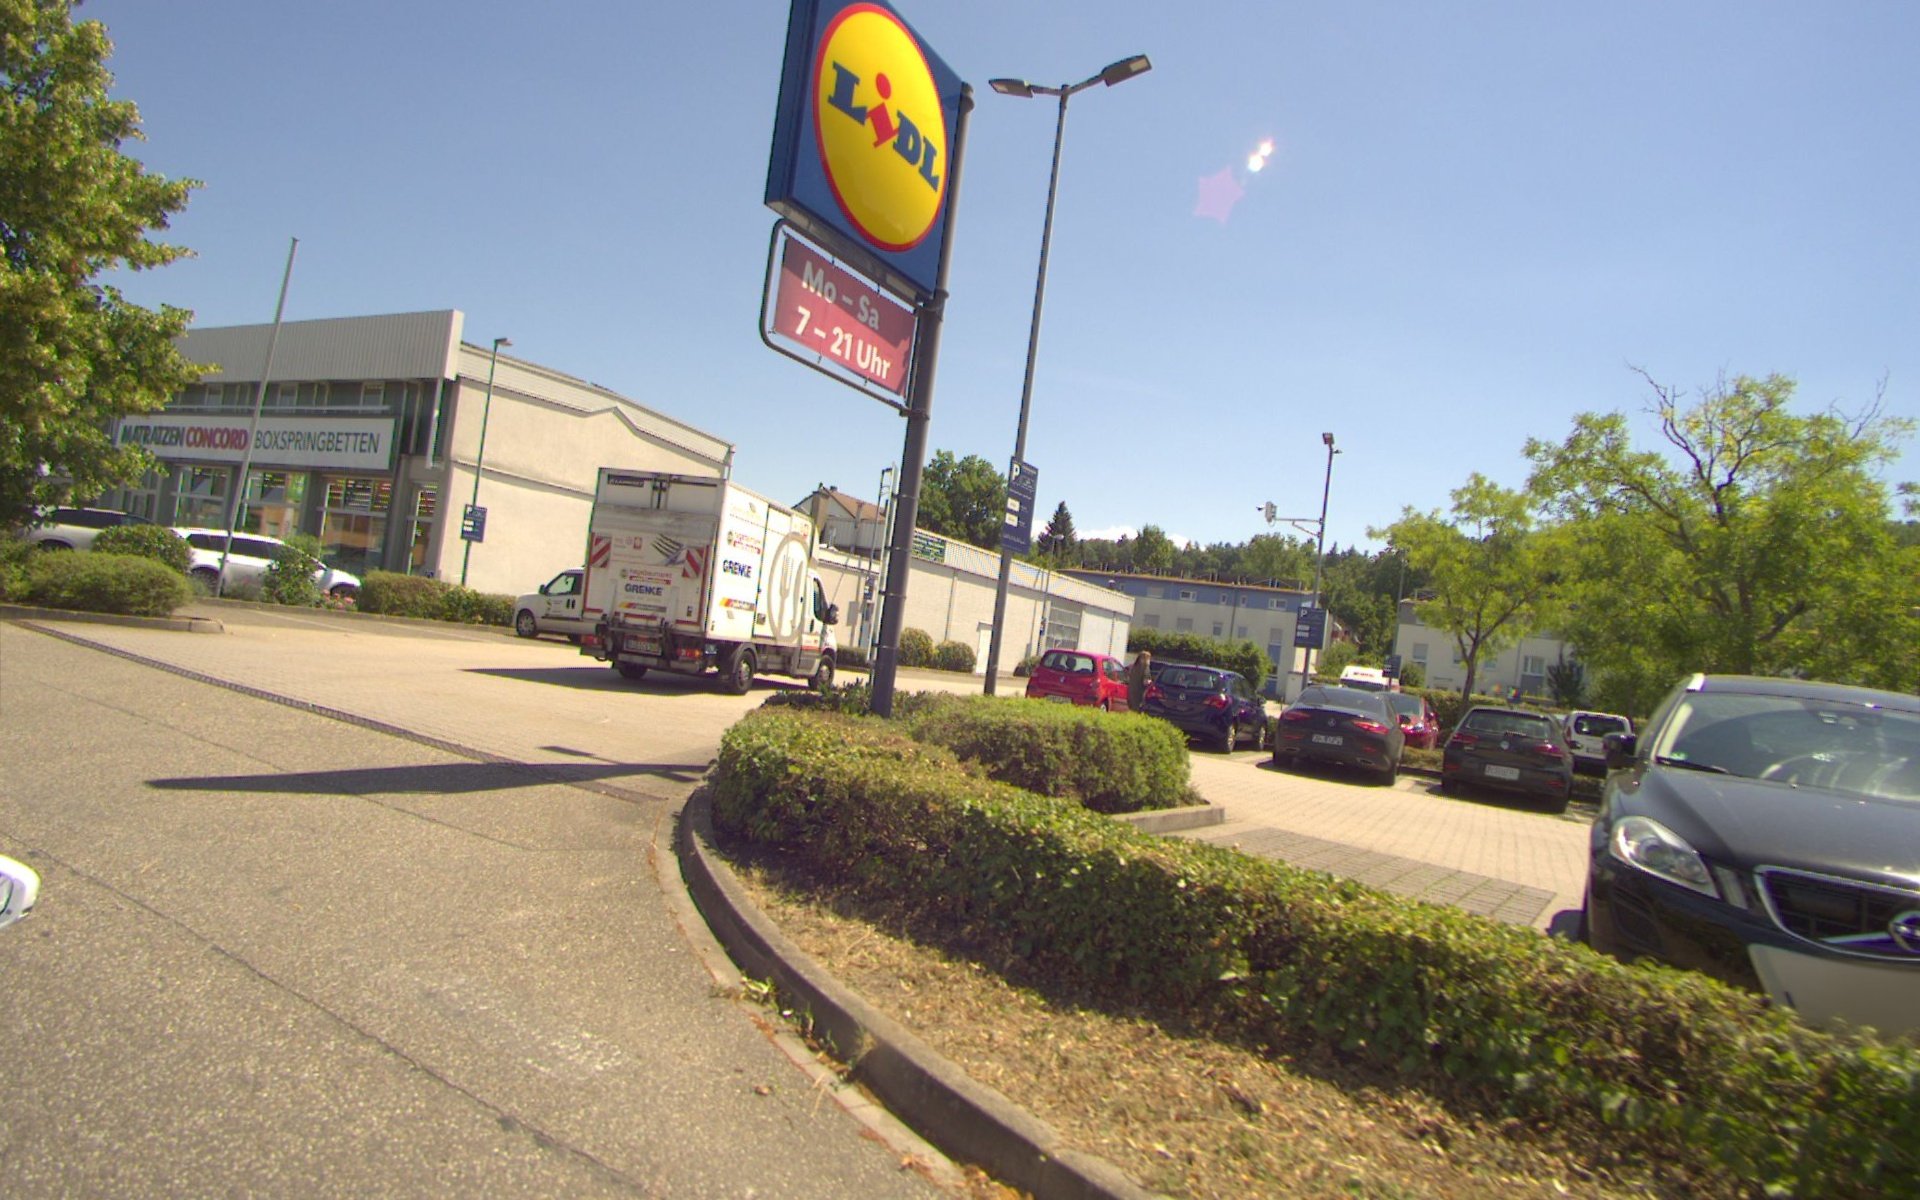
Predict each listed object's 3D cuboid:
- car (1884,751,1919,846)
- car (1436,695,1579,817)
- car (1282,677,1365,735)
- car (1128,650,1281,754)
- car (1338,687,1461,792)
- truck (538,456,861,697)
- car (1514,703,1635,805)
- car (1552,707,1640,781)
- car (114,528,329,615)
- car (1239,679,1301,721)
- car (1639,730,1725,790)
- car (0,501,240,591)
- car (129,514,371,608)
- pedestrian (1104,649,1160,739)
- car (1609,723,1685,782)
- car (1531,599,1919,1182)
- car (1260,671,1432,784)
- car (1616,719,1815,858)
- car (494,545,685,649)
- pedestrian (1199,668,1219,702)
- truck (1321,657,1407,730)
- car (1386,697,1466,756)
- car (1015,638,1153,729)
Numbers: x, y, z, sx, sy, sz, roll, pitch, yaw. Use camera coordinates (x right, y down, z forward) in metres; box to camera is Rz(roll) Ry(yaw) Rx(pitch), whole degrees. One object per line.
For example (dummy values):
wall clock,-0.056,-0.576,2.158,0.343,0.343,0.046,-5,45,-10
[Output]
car,17.165,3.509,16.746,1.716,1.522,3.603,7,-1,30
car,9.004,2.475,16.474,1.699,1.494,4.027,7,-3,31
car,12.434,3.606,34.294,1.625,1.668,3.866,6,-2,34
car,4.808,1.971,19.327,1.777,1.580,4.033,6,-3,28
car,9.522,2.837,21.583,1.965,1.661,5.528,7,-1,26
truck,-3.848,-0.146,16.533,2.376,2.982,5.962,8,-2,12
car,11.906,2.929,19.661,1.716,1.521,3.605,7,-2,30
car,19.311,4.320,30.695,1.745,1.811,3.998,7,-2,27
car,-17.611,-0.650,24.104,1.656,1.551,3.847,6,-1,44
car,13.567,4.382,43.923,1.716,1.521,3.605,7,-2,30
car,21.103,4.626,29.507,1.404,1.337,3.425,7,-2,27
car,-21.930,-1.380,26.403,1.974,1.661,4.572,6,-2,44
car,-15.590,-0.818,22.251,1.780,1.478,3.983,6,-2,41
pedestrian,3.286,1.783,19.189,0.695,1.610,0.679,7,-1,31
car,22.807,5.017,33.488,1.717,1.522,3.602,7,-1,31
car,4.184,1.150,4.994,1.864,1.687,4.520,7,-2,34
car,6.630,2.084,16.971,1.870,1.407,4.250,6,-2,31
car,11.227,2.714,15.228,1.788,1.521,3.731,7,-2,30
car,-8.822,-0.075,23.905,4.182,1.913,1.710,6,-1,27
pedestrian,13.178,4.504,53.191,0.668,1.737,0.706,7,0,28
truck,16.284,3.789,40.381,2.143,2.485,5.480,7,-2,31
car,15.177,4.076,32.661,1.721,1.578,3.757,6,-2,33
car,2.722,1.797,21.282,1.622,1.549,4.001,7,-2,25
